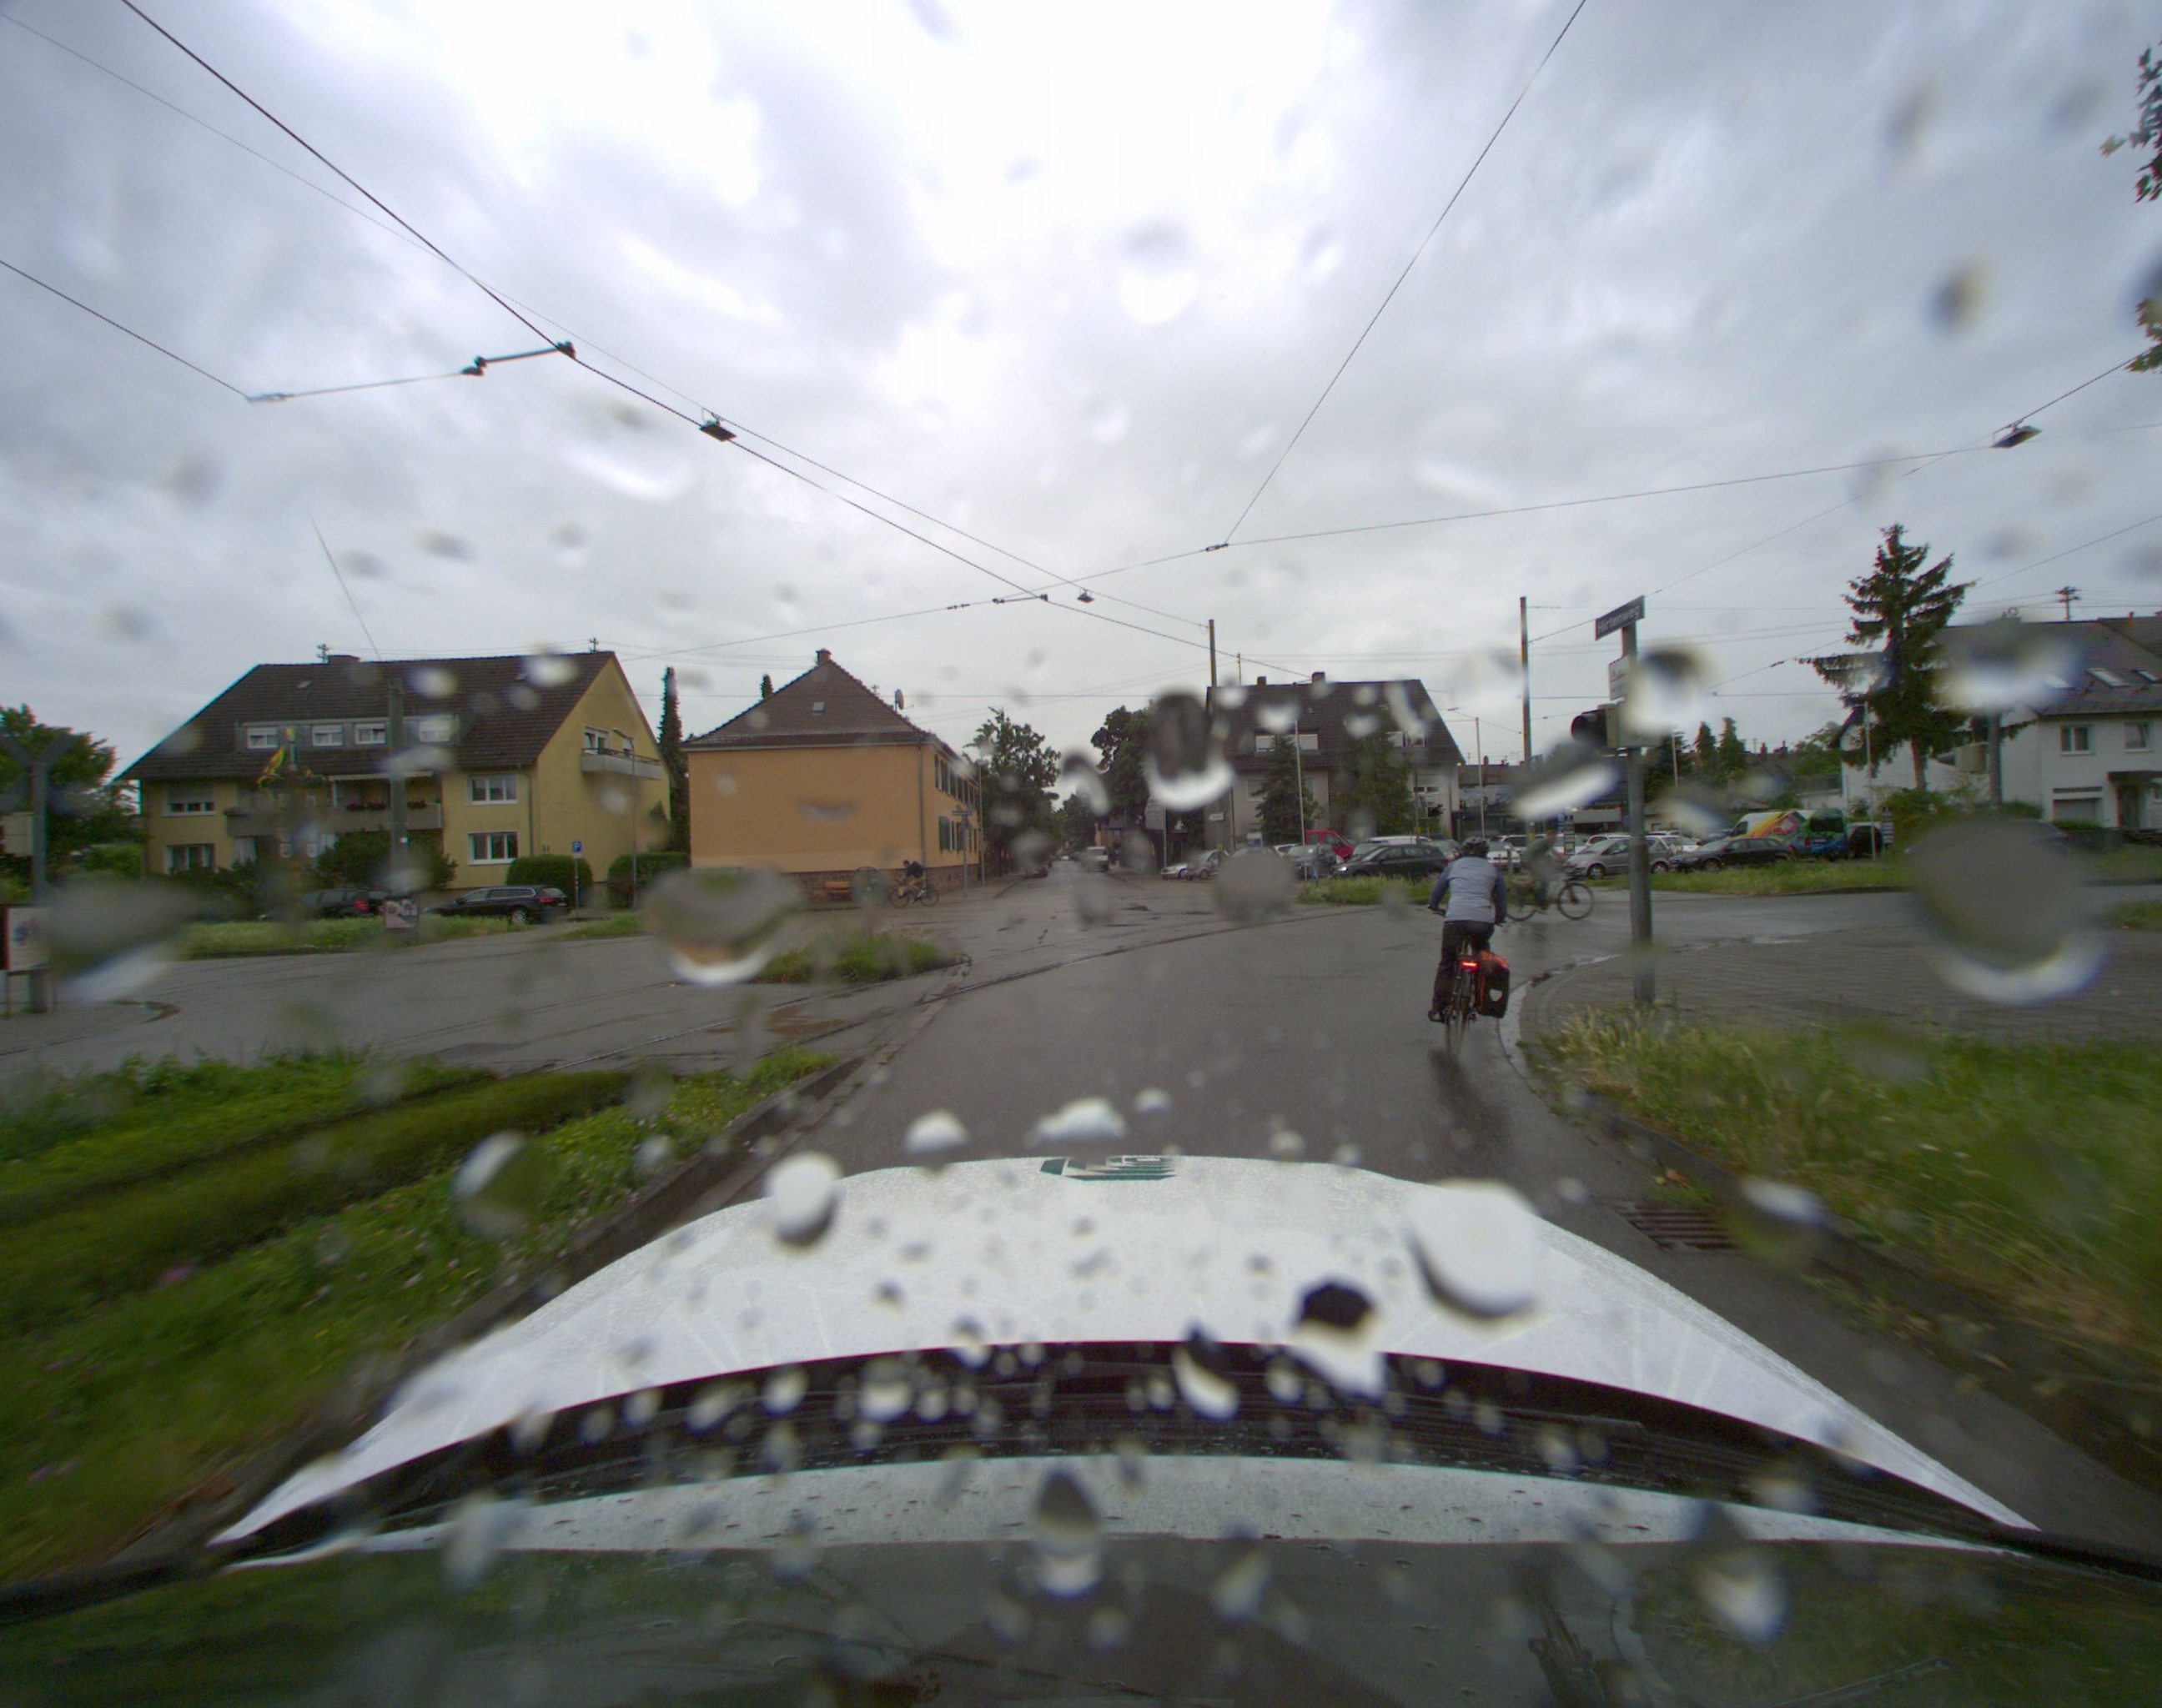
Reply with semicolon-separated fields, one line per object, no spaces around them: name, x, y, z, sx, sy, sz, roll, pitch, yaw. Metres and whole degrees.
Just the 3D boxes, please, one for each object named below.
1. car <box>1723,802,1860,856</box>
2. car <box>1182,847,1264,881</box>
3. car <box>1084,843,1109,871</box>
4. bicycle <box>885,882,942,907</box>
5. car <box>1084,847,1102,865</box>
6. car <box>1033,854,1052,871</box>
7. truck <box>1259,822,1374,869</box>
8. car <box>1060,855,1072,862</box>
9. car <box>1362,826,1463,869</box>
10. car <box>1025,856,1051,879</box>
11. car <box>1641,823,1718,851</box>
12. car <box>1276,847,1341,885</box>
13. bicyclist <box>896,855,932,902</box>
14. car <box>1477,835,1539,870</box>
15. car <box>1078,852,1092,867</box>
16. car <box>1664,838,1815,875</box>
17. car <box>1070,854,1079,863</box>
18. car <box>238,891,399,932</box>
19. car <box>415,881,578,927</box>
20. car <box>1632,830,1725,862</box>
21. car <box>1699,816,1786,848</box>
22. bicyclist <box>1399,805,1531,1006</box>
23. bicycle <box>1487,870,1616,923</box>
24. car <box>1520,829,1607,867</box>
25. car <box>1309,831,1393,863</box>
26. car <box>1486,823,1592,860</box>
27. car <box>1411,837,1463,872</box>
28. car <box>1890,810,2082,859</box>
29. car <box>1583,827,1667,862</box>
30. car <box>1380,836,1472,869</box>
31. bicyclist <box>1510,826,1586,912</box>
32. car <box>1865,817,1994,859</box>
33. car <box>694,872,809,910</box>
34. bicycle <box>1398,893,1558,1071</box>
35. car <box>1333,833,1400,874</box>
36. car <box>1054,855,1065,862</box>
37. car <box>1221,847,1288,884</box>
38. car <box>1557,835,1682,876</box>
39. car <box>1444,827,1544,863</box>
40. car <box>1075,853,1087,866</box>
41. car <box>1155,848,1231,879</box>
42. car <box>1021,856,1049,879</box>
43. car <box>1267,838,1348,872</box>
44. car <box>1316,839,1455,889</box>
car;34.030;-1.132;39.242;2.138;2.406;5.149;0;0;0
car;7.523;0.532;43.280;3.872;1.578;1.796;-3;0;-20
car;1.415;0.262;75.457;2.147;2.572;4.130;0;0;-2
bicycle;-5.997;1.452;29.275;1.809;0.786;0.942;-3;0;-2
car;1.337;0.242;93.349;1.987;2.013;4.000;0;0;0
car;-4.567;1.002;97.326;1.987;2.013;4.000;0;0;0
truck;13.343;-0.444;46.184;6.032;2.272;2.010;-3;-1;20
car;-3.591;1.004;196.002;1.832;1.697;4.009;0;0;-16
car;17.170;-0.322;42.354;4.415;2.014;2.001;-2;-1;2
car;-3.540;1.109;67.798;1.988;1.750;3.997;-2;-1;-2
car;37.746;-1.052;51.382;4.450;1.580;1.781;-2;-1;-22
car;10.731;0.532;38.288;1.784;1.578;3.897;-3;0;33
bicyclist;-6.000;0.872;29.276;1.036;1.598;0.949;-3;0;-1
car;19.513;-0.060;37.352;1.813;1.504;4.077;0;0;17
car;0.556;0.760;113.328;1.823;2.013;3.997;0;0;-2
car;25.008;0.092;31.018;4.358;1.339;1.723;0;0;1
car;-1.494;0.957;177.728;1.823;2.013;3.997;0;0;-2
car;-27.224;2.036;29.161;3.977;1.332;1.758;0;0;-3
car;-21.410;1.811;29.975;4.478;1.396;1.966;-2;0;-2
car;27.798;-0.353;38.053;1.710;1.396;3.846;0;0;4
car;37.488;-1.248;46.163;4.402;1.580;1.852;-2;-1;-22
bicyclist;3.041;0.392;6.541;0.745;1.485;0.850;-3;-1;15
bicycle;8.862;0.785;15.395;1.974;0.912;0.823;-1;-1;-3
car;22.266;-0.260;37.764;1.795;1.578;3.874;-3;0;2
car;16.302;-0.409;49.404;4.415;1.687;2.001;-3;-1;2
car;23.506;-0.632;41.908;4.415;1.687;1.761;-2;-1;2
car;16.280;0.020;37.129;1.810;1.504;4.083;0;0;29
car;31.056;-0.646;28.046;4.545;1.605;1.999;0;0;-2
car;25.393;-0.418;38.181;1.709;1.573;3.621;0;0;4
car;19.809;-0.053;46.877;4.415;1.687;2.001;-3;-1;2
bicyclist;8.811;0.286;15.387;0.908;1.558;0.833;-1;-1;-2
car;39.557;-0.740;38.023;3.870;1.564;2.000;-5;0;0
car;-12.284;1.357;30.556;3.596;1.339;1.721;0;0;-3
bicycle;3.047;0.918;6.457;0.747;1.073;1.935;-4;0;16
car;13.221;-0.040;37.555;1.974;1.717;4.026;-3;-1;33
car;-5.310;1.022;201.430;1.832;1.697;4.009;0;0;-16
car;8.446;0.544;39.428;1.784;1.578;3.897;-3;0;33
car;20.492;0.055;31.096;3.619;1.504;1.723;0;0;1
car;22.465;-0.456;44.416;4.415;1.687;2.001;-3;-1;2
car;0.044;0.851;131.038;1.823;2.013;3.997;0;0;-2
car;6.385;0.543;46.407;3.872;1.578;1.796;-3;0;-20
car;-3.540;1.009;62.887;1.988;1.618;3.997;-2;-1;-2
car;12.132;0.044;43.575;3.932;1.598;2.010;-3;-1;20
car;10.374;0.321;27.984;3.976;1.476;1.999;-3;0;-1
